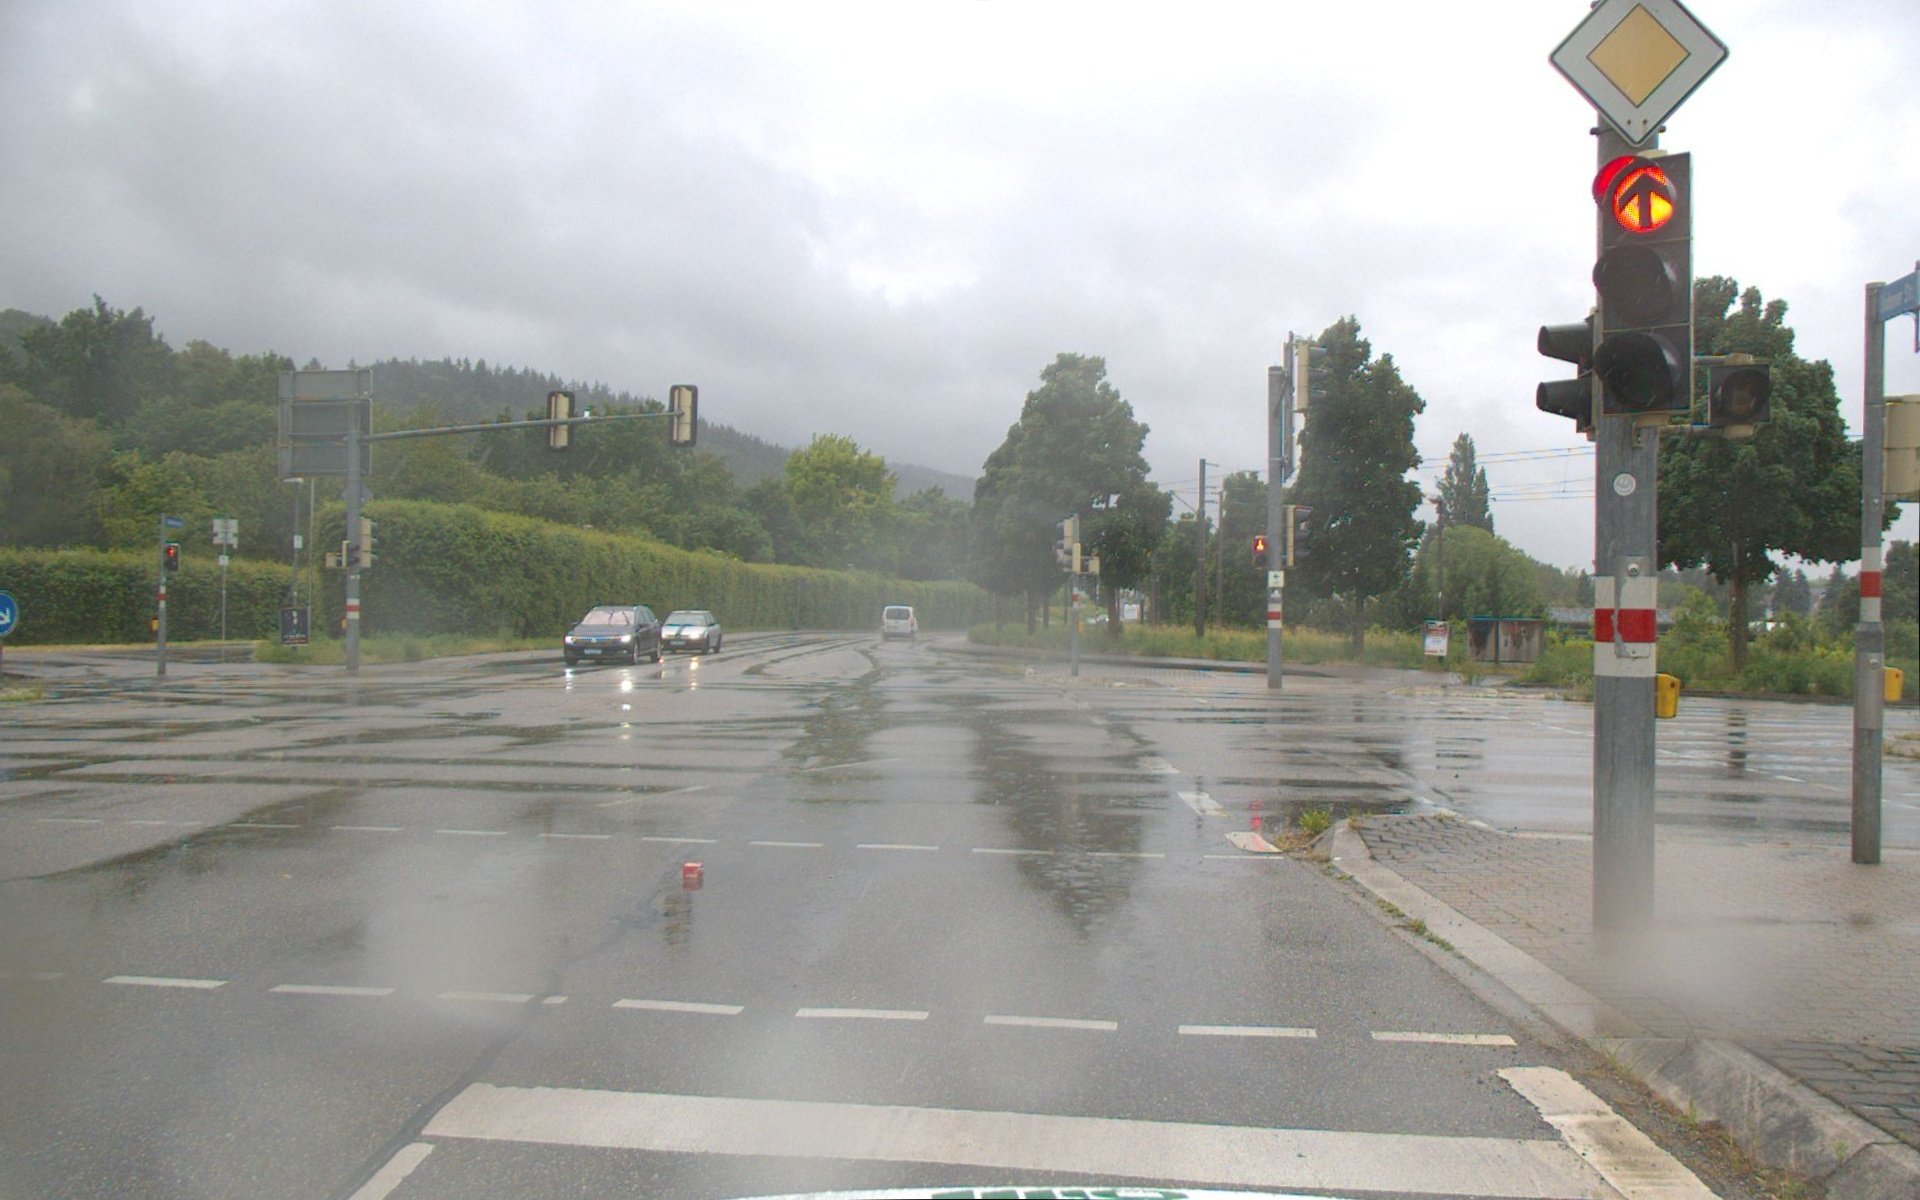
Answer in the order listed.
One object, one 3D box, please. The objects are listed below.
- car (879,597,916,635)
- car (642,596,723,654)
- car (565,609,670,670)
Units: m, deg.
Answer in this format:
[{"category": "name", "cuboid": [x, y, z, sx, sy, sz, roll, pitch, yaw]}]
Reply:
[{"category": "car", "cuboid": [-3.349, 0.837, 87.816, 1.914, 1.937, 4.118, 0, 0, -3]}, {"category": "car", "cuboid": [-8.966, 0.778, 53.712, 1.995, 1.738, 4.065, 1, 0, -1]}, {"category": "car", "cuboid": [-8.895, 0.988, 43.294, 1.673, 1.491, 4.454, 0, 0, 2]}]
